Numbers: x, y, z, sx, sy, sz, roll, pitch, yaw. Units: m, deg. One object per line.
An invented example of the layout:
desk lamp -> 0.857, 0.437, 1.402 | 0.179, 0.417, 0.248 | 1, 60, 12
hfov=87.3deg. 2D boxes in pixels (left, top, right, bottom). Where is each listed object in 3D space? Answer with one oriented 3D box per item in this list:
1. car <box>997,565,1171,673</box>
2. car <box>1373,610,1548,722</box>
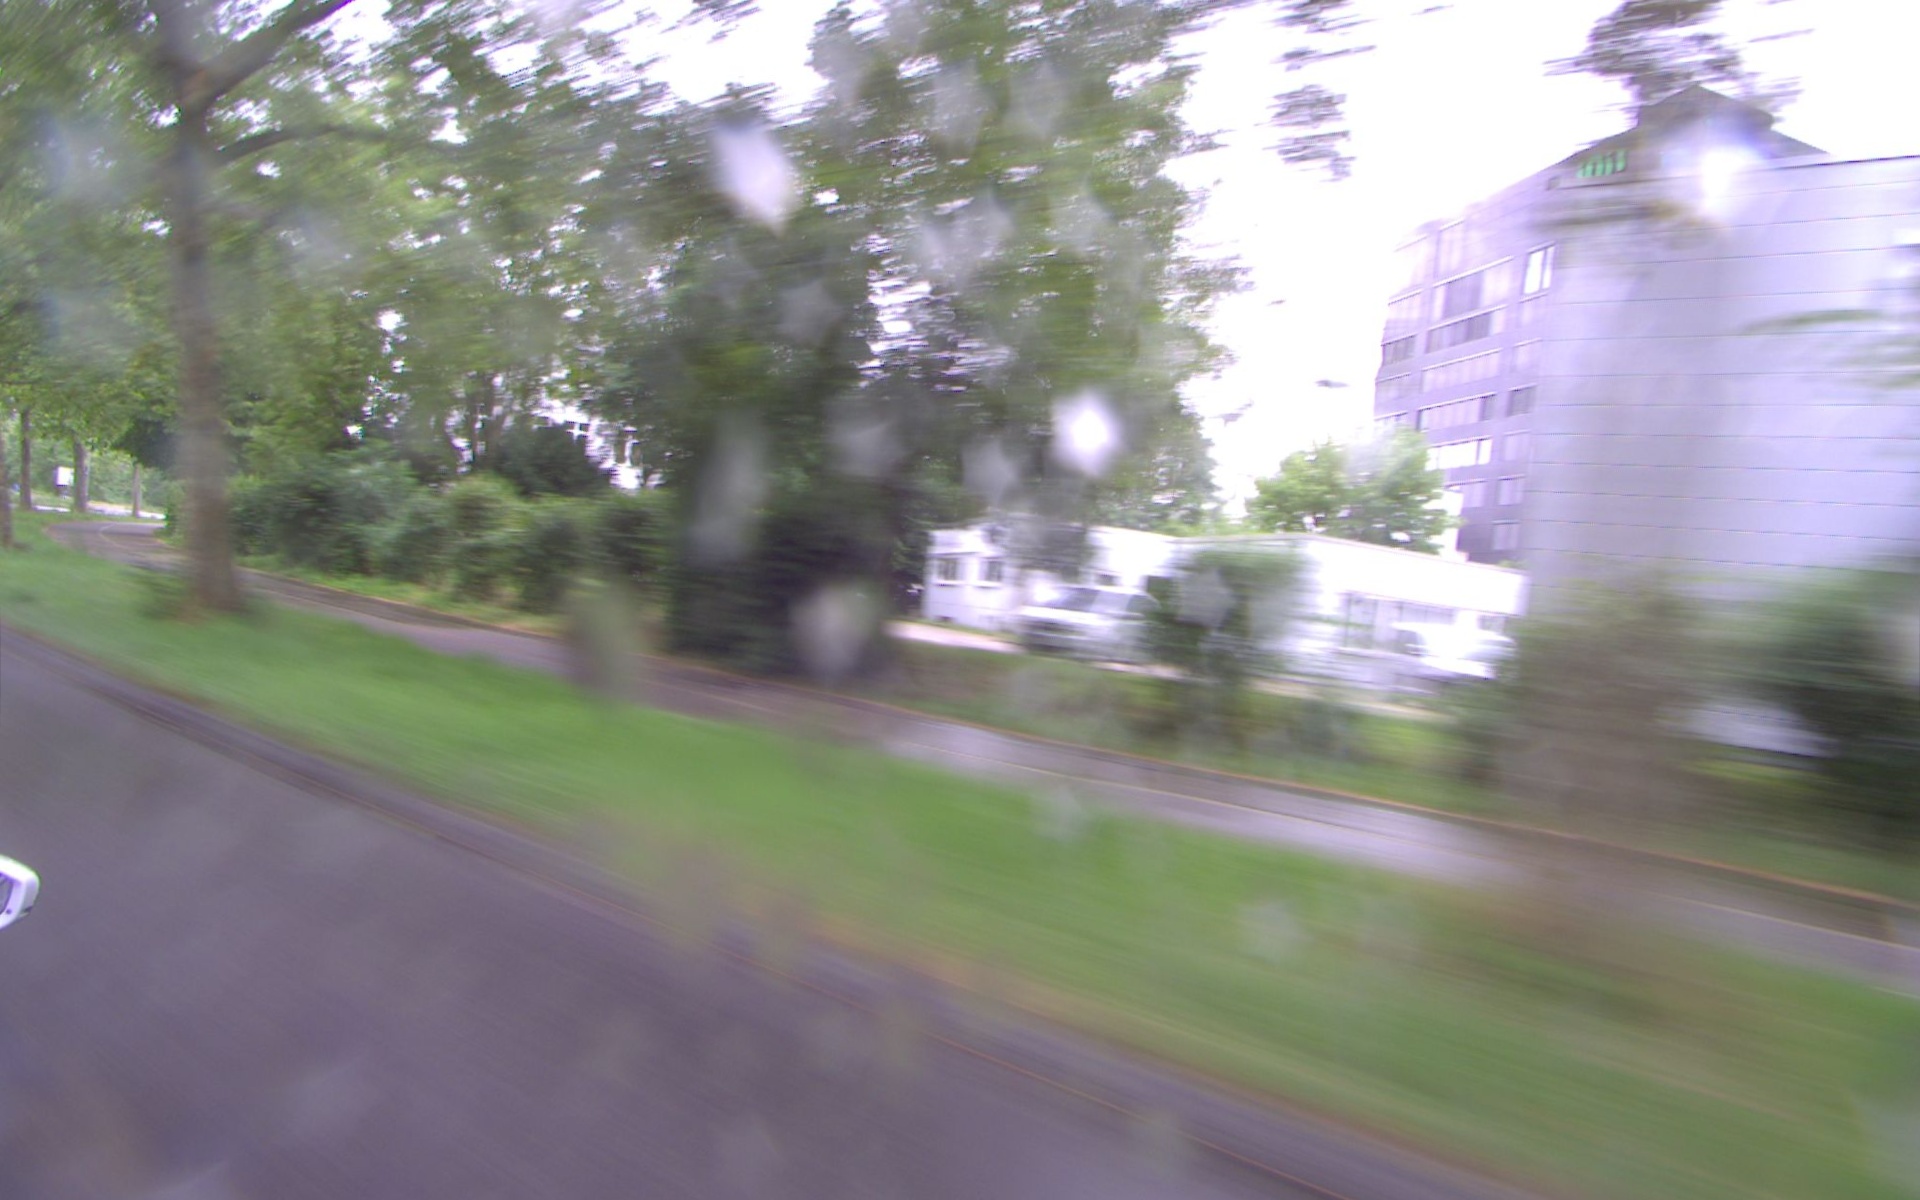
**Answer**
car -> 2.485, 0.439, 19.163 | 1.737, 1.500, 4.154 | 9, 0, 28
car -> 10.271, 1.327, 21.064 | 1.735, 1.852, 4.604 | 8, -1, 9
